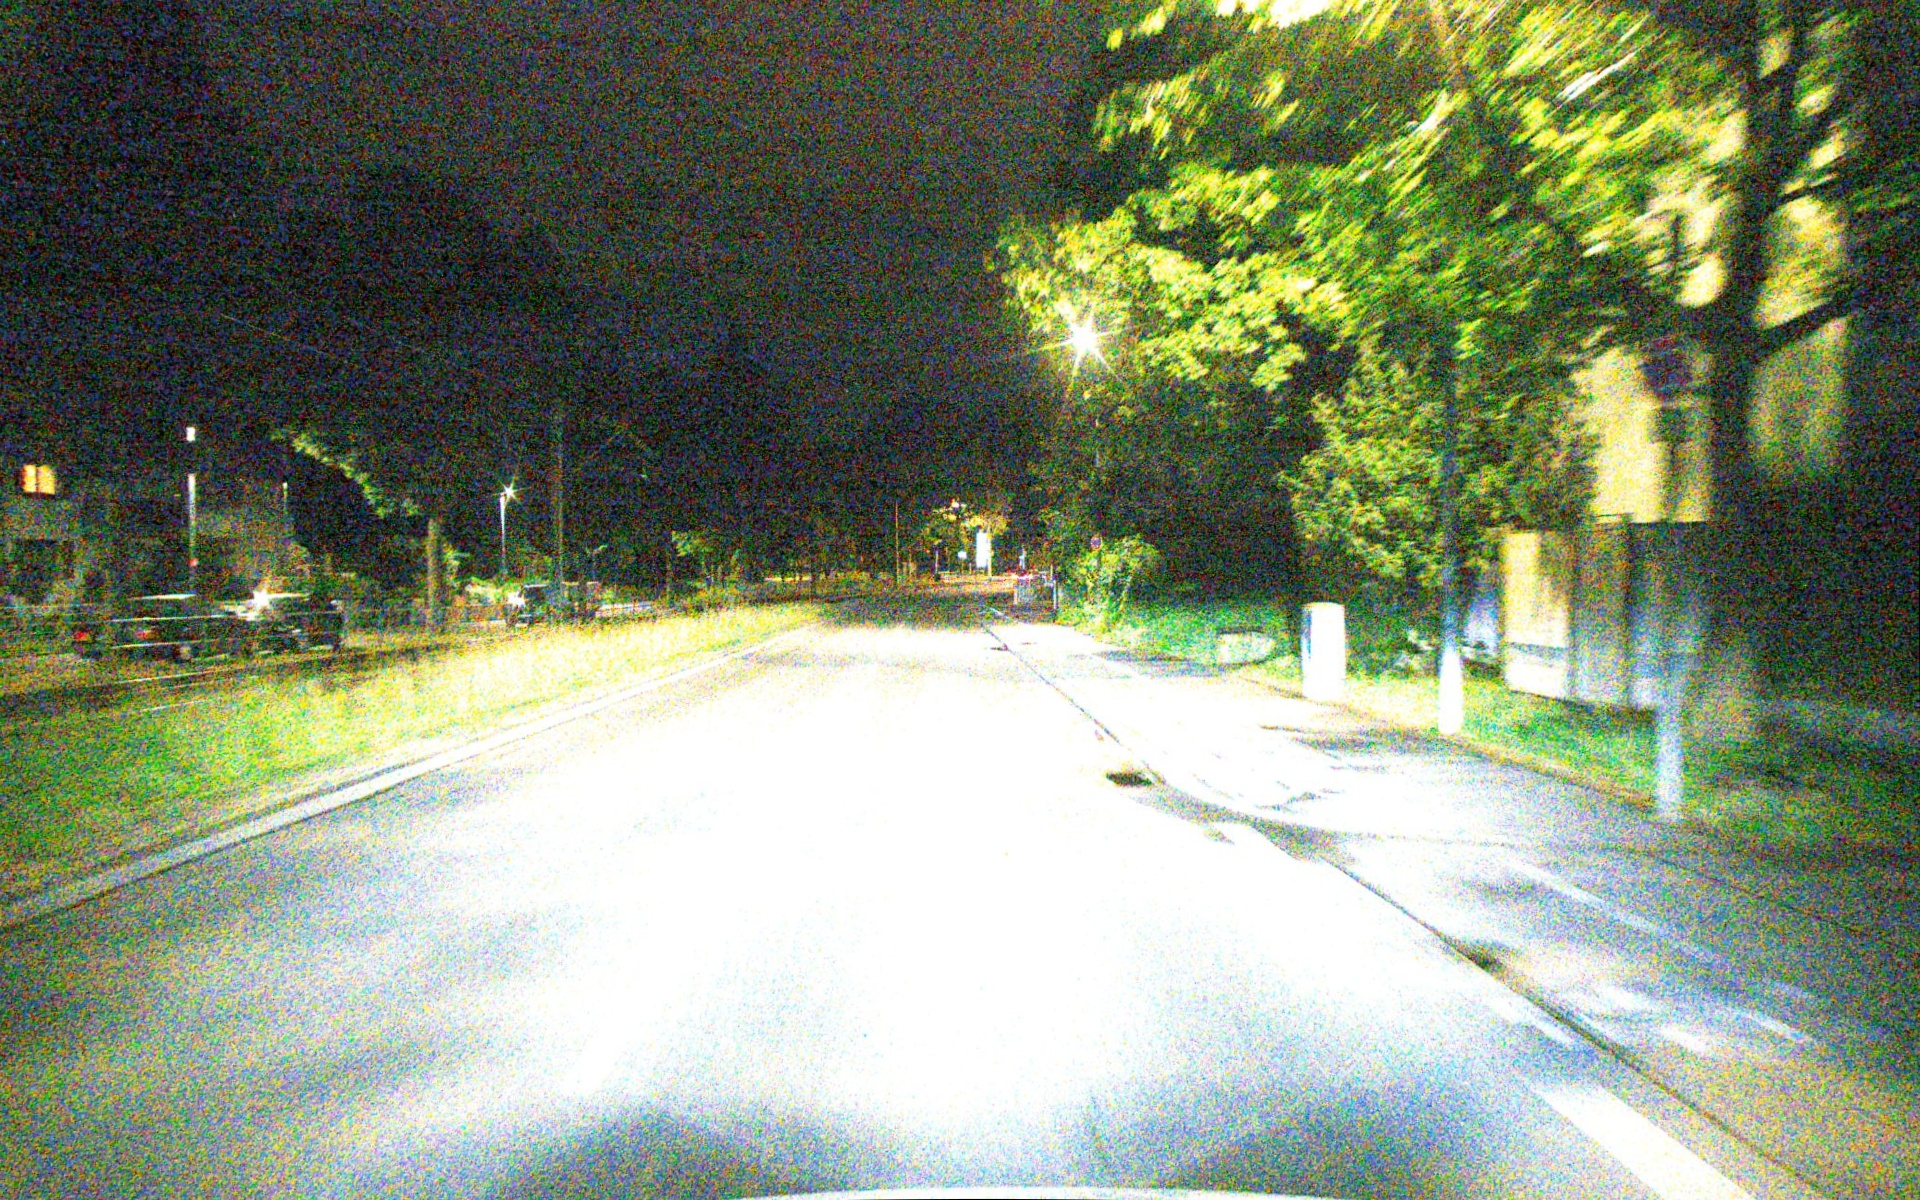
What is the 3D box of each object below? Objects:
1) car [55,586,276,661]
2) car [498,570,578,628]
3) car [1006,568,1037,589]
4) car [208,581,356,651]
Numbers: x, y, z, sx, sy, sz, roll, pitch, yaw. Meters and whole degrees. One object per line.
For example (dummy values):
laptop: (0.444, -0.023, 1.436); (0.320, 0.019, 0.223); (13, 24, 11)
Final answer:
car: (-15.784, 0.426, 33.244); (1.953, 1.361, 5.430); (0, 0, -2)
car: (-16.329, -0.071, 64.173); (2.050, 2.048, 3.999); (-5, 1, -2)
car: (5.214, -1.819, 139.919); (2.115, 1.610, 4.017); (-3, 1, 8)
car: (-16.062, 0.332, 39.407); (1.953, 1.556, 3.999); (-1, 1, -2)
